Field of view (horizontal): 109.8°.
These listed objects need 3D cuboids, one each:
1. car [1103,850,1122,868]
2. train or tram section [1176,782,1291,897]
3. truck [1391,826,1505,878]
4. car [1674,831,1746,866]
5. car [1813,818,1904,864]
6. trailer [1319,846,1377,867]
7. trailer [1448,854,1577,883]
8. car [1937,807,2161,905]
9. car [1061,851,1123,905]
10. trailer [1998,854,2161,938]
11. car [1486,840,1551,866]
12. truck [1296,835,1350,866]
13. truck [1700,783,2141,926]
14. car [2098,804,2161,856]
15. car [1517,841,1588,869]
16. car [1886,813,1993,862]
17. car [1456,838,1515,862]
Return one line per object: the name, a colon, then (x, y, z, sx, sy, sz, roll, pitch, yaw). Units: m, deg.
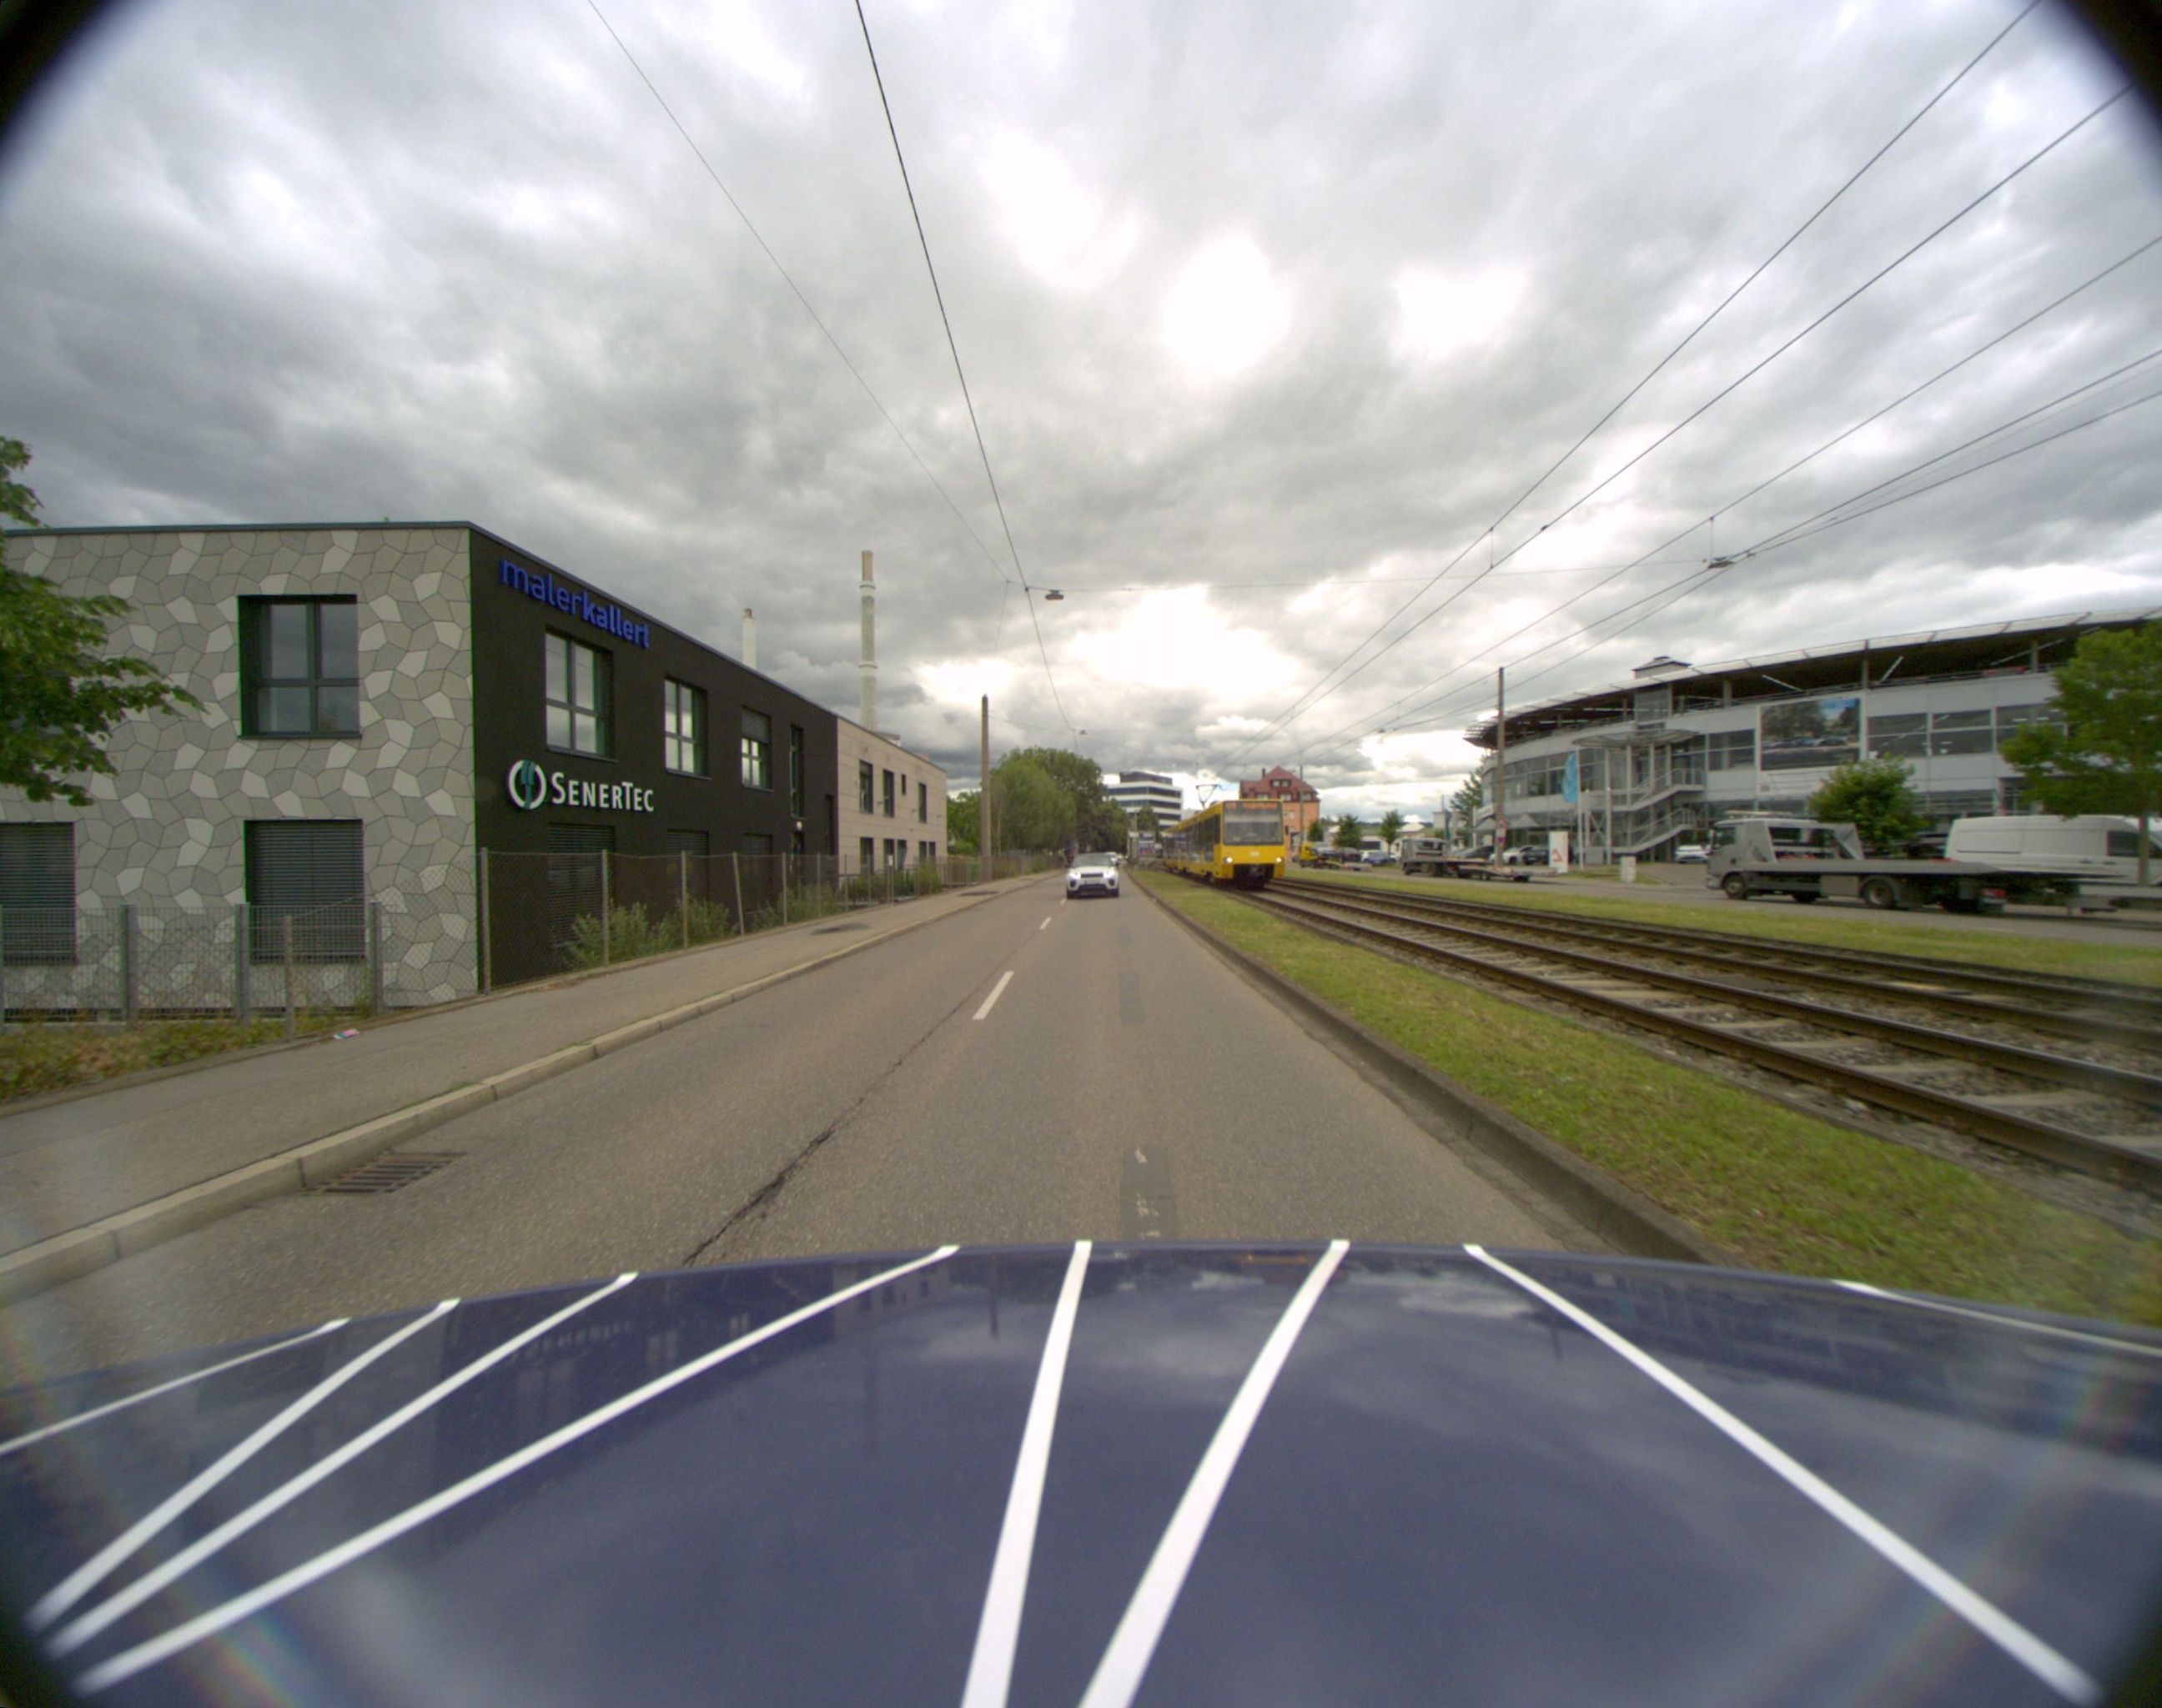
car: (3.449, 0.541, 84.913, 1.998, 1.882, 4.627, -1, 0, 1)
train or tram section: (6.515, -0.634, 35.650, 3.395, 3.984, 16.948, -2, 1, 5)
truck: (22.839, -0.142, 47.979, 3.114, 2.905, 8.963, 1, 0, 3)
car: (37.414, -0.355, 45.171, 4.006, 2.002, 1.995, -1, 1, -29)
car: (35.811, -0.591, 35.132, 1.994, 2.002, 4.008, 0, 1, 31)
trailer: (23.816, 0.197, 68.132, 2.984, 1.678, 7.570, -1, 0, 4)
trailer: (22.420, 0.680, 40.007, 3.056, 1.270, 7.007, 2, 0, 3)
car: (28.863, 0.046, 21.644, 2.000, 2.546, 5.859, -1, 0, -7)
car: (0.464, 0.813, 27.397, 1.998, 1.718, 4.001, -3, 0, 3)
trailer: (20.690, 0.801, 12.509, 2.763, 1.486, 7.227, 2, 0, 5)
car: (33.500, -0.112, 58.261, 4.000, 1.936, 1.998, -1, 1, -10)
truck: (24.211, -0.350, 76.450, 3.056, 2.843, 9.069, -1, 0, 4)
truck: (21.200, -0.013, 20.341, 2.870, 2.964, 8.457, 1, 0, 5)
car: (43.149, -0.932, 30.105, 1.994, 2.002, 4.008, 0, 1, 31)
car: (33.871, 0.054, 54.646, 4.000, 1.936, 1.998, -1, 1, -10)
car: (37.475, -0.697, 33.310, 1.994, 2.002, 4.008, 0, 1, 31)
car: (34.099, -0.341, 64.130, 3.992, 1.936, 2.002, 0, 1, 15)
